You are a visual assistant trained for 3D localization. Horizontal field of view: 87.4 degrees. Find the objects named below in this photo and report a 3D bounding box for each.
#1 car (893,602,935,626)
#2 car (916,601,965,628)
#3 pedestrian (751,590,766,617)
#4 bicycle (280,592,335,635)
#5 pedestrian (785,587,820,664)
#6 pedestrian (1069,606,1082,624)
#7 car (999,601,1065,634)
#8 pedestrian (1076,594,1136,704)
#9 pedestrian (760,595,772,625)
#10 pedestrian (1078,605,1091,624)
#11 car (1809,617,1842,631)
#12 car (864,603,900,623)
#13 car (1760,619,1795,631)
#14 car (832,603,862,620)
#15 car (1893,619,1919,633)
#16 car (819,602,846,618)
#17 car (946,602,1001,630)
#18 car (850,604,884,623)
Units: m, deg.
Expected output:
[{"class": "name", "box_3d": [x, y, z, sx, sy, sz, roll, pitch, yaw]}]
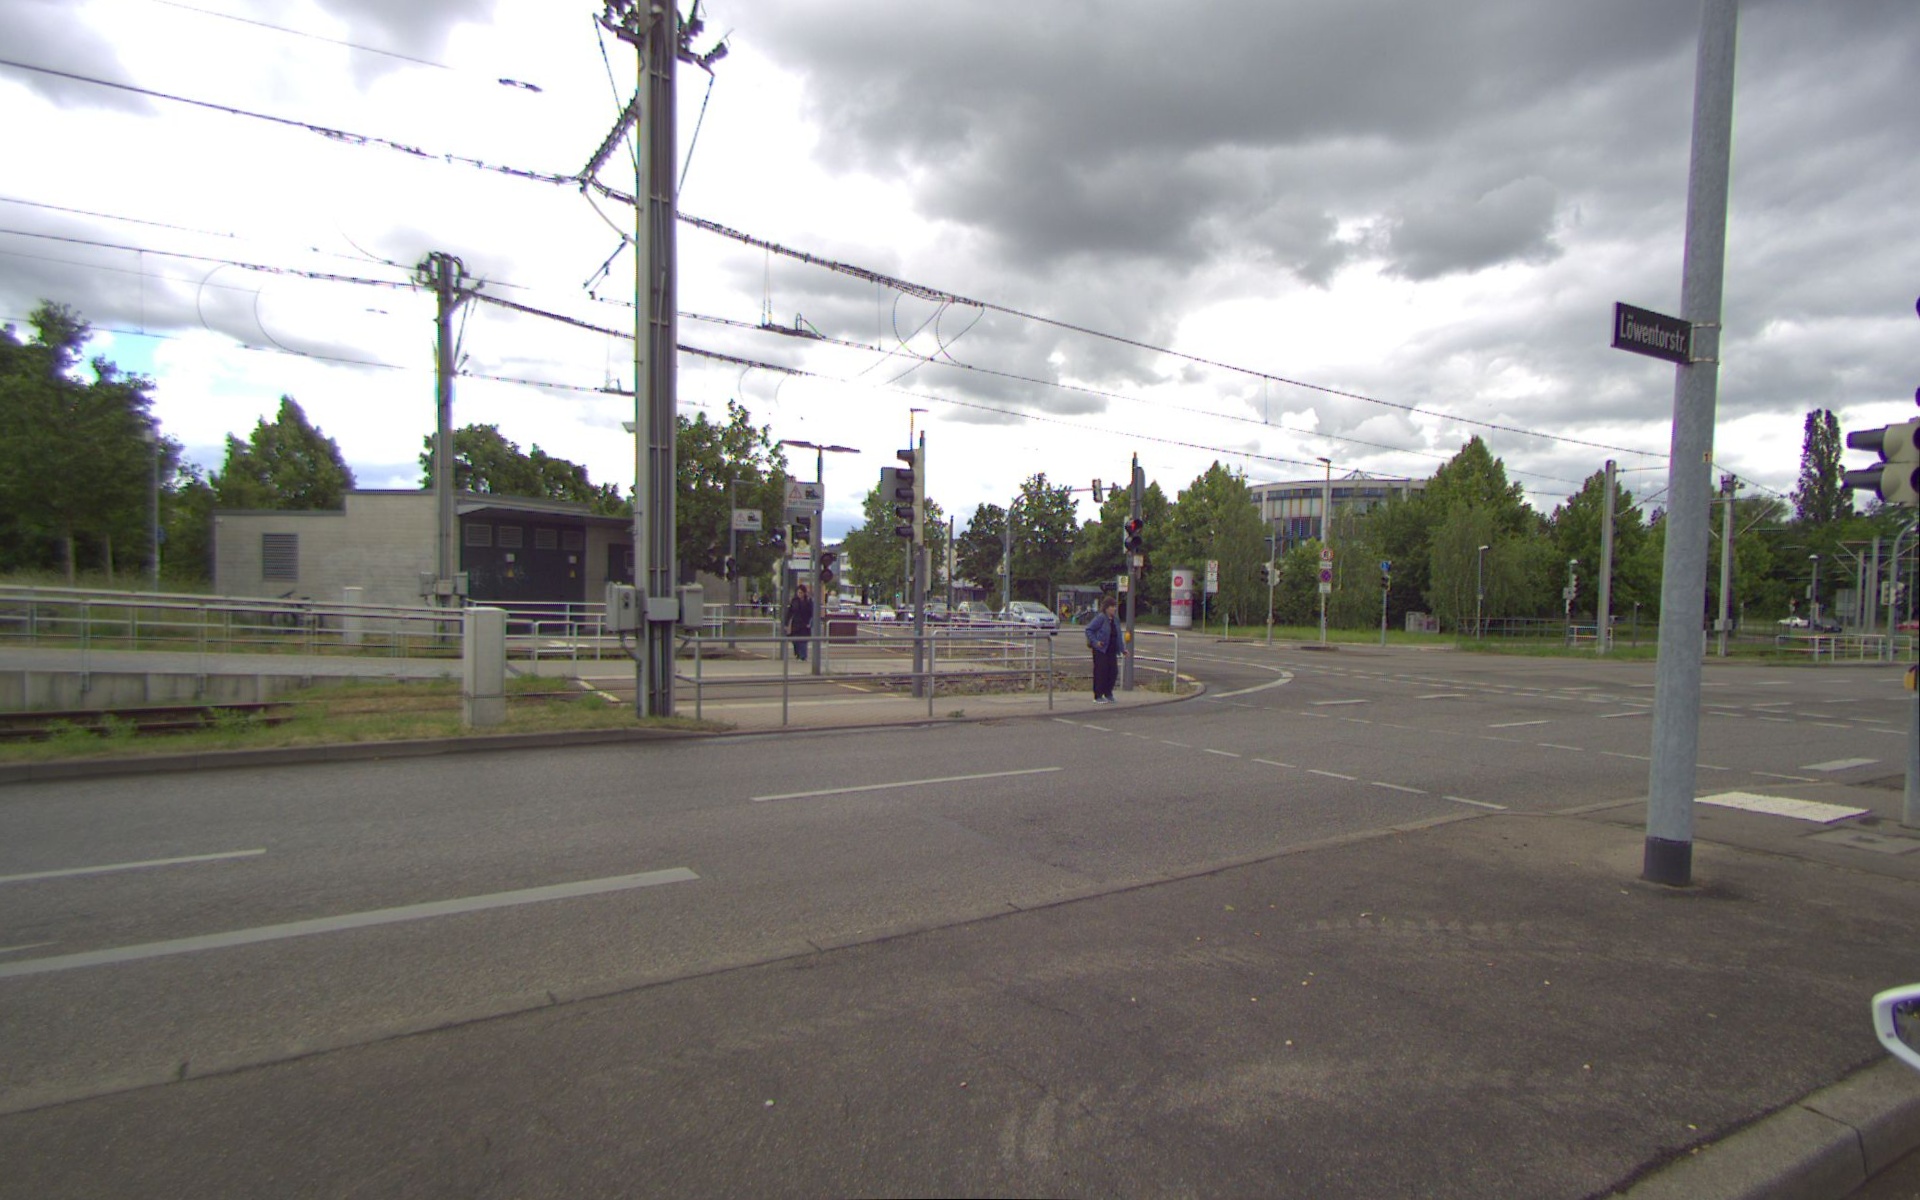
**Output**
[{"class": "car", "box_3d": [-3.005, 0.890, 64.930, 1.706, 1.456, 3.731, 1, 0, -20]}, {"class": "car", "box_3d": [-1.151, 0.818, 58.164, 1.706, 1.456, 3.731, 1, 0, -20]}, {"class": "pedestrian", "box_3d": [-12.656, 0.234, 63.143, 0.771, 1.649, 0.660, 1, 0, -22]}, {"class": "bicycle", "box_3d": [-17.327, 0.349, 26.676, 1.452, 1.101, 0.492, 1, 0, 22]}, {"class": "pedestrian", "box_3d": [-3.365, 0.537, 21.472, 0.693, 1.628, 0.657, 1, 0, -8]}, {"class": "pedestrian", "box_3d": [8.390, 1.082, 72.832, 0.652, 1.321, 0.780, 1, 0, -16]}, {"class": "car", "box_3d": [3.301, 0.801, 46.808, 1.706, 1.456, 3.731, 1, 0, -20]}, {"class": "pedestrian", "box_3d": [2.155, 0.706, 14.830, 0.701, 1.584, 0.533, 1, 1, -44]}, {"class": "pedestrian", "box_3d": [-12.811, 0.654, 66.351, 0.738, 1.993, 0.795, 1, 0, -9]}, {"class": "pedestrian", "box_3d": [8.870, 1.059, 71.629, 0.652, 1.322, 0.780, 1, 0, -16]}, {"class": "car", "box_3d": [104.417, 2.869, 121.228, 1.752, 1.465, 4.525, -1, 0, 23]}, {"class": "car", "box_3d": [-5.815, 0.964, 74.780, 1.706, 1.456, 3.731, 1, 0, -20]}, {"class": "car", "box_3d": [116.238, 3.525, 142.807, 1.748, 1.567, 4.025, 1, 0, 2]}, {"class": "car", "box_3d": [-9.771, 0.988, 86.714, 1.706, 1.456, 3.731, 1, 0, -20]}, {"class": "car", "box_3d": [114.319, 3.167, 120.346, 1.747, 1.567, 4.027, 1, 0, 10]}, {"class": "car", "box_3d": [-11.934, 0.964, 94.071, 1.706, 1.456, 3.731, 1, 0, -20]}, {"class": "car", "box_3d": [0.688, 0.845, 53.668, 1.706, 1.456, 3.731, 1, 0, -20]}, {"class": "car", "box_3d": [-7.421, 1.024, 79.683, 1.706, 1.456, 3.991, 1, 0, -20]}]
